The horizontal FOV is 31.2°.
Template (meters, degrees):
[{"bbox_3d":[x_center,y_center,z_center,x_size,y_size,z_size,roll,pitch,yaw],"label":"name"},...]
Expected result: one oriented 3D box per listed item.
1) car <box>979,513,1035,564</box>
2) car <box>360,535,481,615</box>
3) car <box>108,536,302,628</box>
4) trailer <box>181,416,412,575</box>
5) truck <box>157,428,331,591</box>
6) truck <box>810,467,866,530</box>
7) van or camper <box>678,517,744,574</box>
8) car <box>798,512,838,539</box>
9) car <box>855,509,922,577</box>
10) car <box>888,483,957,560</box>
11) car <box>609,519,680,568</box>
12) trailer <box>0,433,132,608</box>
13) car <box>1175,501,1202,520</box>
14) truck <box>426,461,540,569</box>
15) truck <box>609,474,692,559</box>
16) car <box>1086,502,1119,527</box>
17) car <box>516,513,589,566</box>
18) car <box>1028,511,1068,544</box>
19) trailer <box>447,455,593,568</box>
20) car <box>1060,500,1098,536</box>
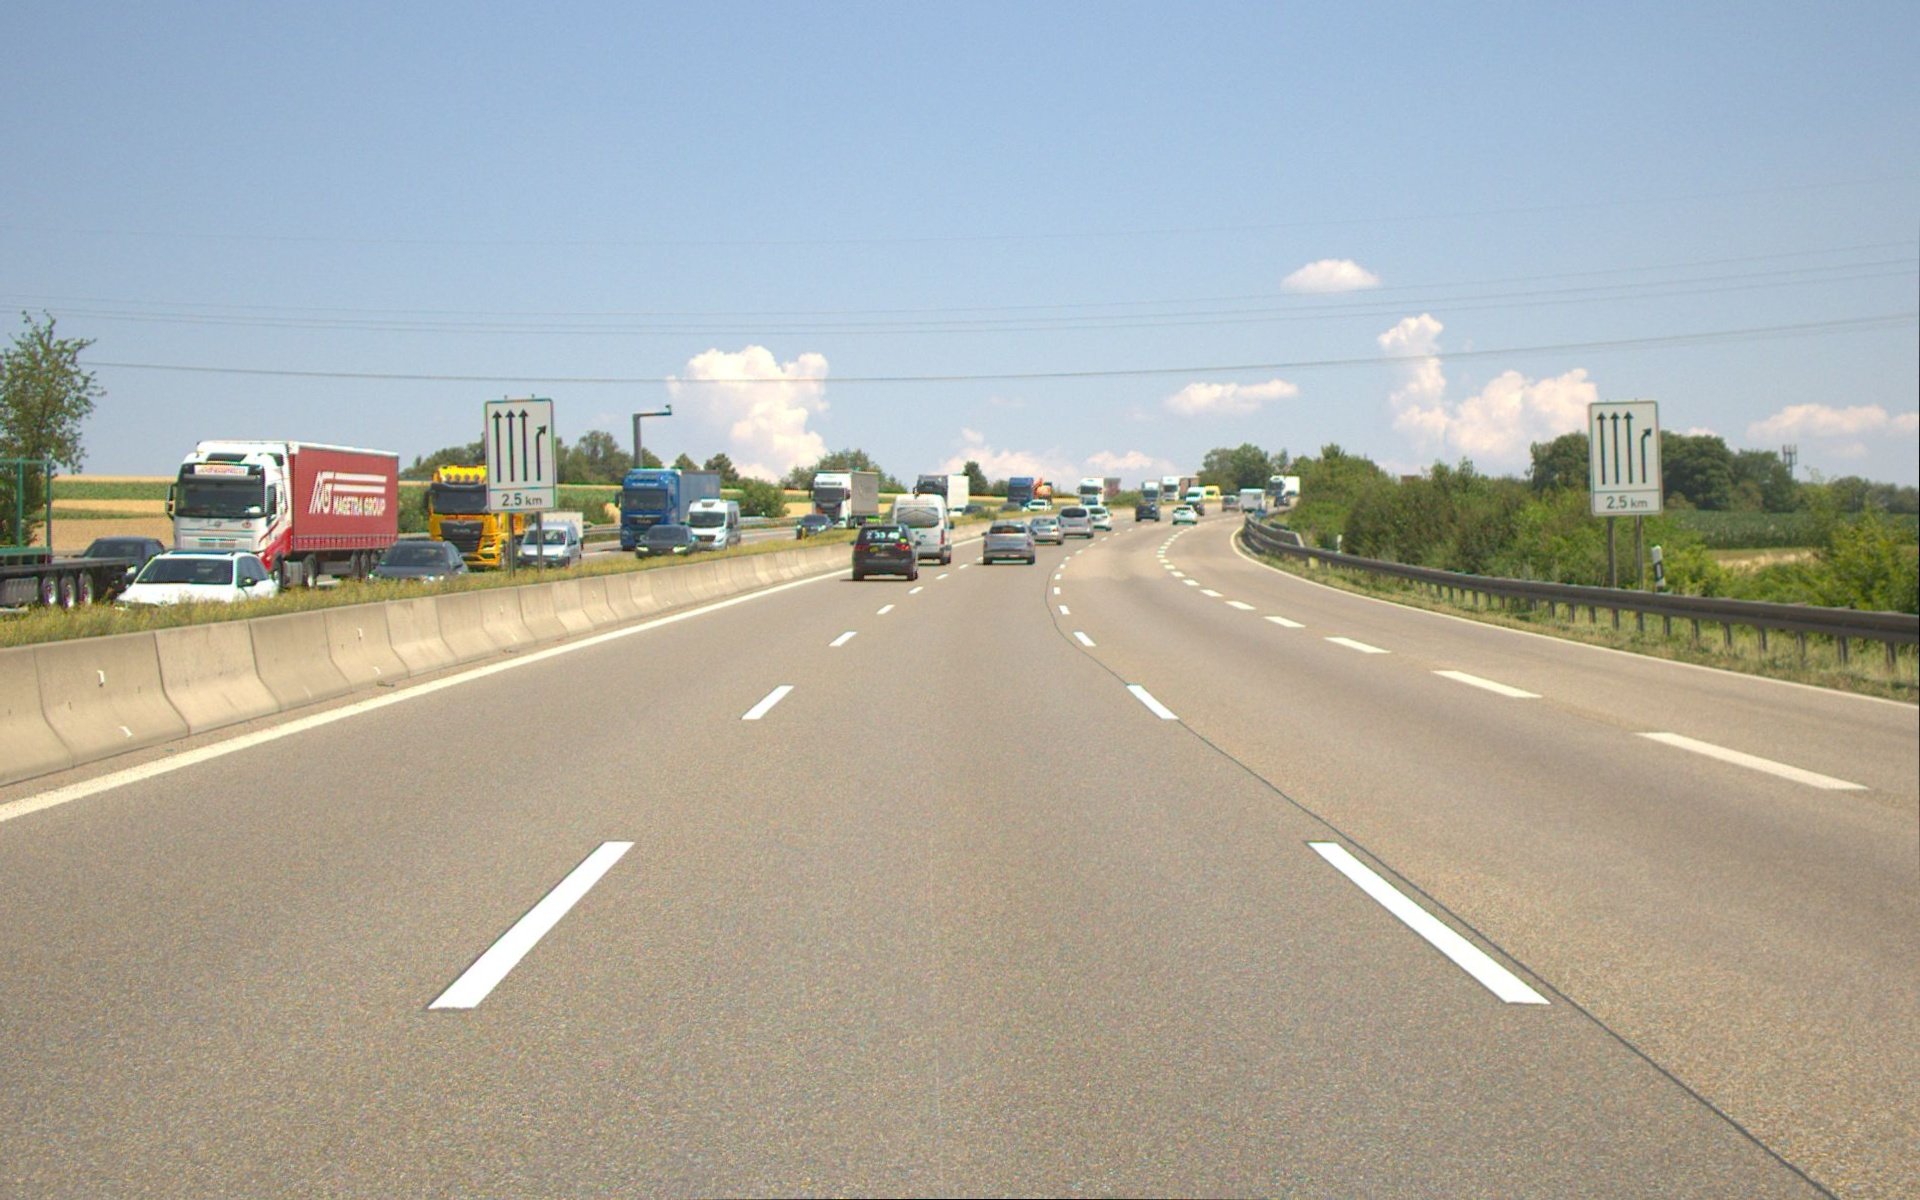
[{"bbox_3d":[1.725,-2.256,126.609,1.993,1.744,4.000,1,-1,0],"label":"car"},{"bbox_3d":[-11.407,-0.556,72.928,1.837,1.578,4.555,1,1,0],"label":"car"},{"bbox_3d":[-11.385,-0.237,52.154,1.837,1.280,4.874,1,-1,0],"label":"car"},{"bbox_3d":[-18.300,-2.869,96.006,3.086,4.086,14.381,1,1,2],"label":"trailer"},{"bbox_3d":[-18.572,-2.354,89.527,3.035,4.067,6.315,1,1,2],"label":"truck"},{"bbox_3d":[-8.552,-7.129,241.981,3.133,4.313,6.146,0,1,6],"label":"truck"},{"bbox_3d":[-11.517,-2.548,159.505,2.311,2.578,7.143,1,1,2],"label":"van or camper"},{"bbox_3d":[-8.263,-4.358,200.540,1.913,1.536,5.743,1,2,2],"label":"car"},{"bbox_3d":[-2.027,-1.654,98.644,1.847,1.854,4.206,0,3,0],"label":"car"},{"bbox_3d":[-1.359,-2.856,125.466,2.180,2.616,4.671,1,-1,3],"label":"car"},{"bbox_3d":[-11.274,-2.054,123.284,2.049,1.690,5.256,1,1,0],"label":"car"},{"bbox_3d":[-18.899,-1.529,65.902,2.858,3.195,12.784,1,1,1],"label":"trailer"},{"bbox_3d":[17.358,-6.806,260.746,1.902,1.437,3.999,0,2,6],"label":"car"},{"bbox_3d":[-17.367,-3.134,125.585,2.751,3.824,7.098,1,2,3],"label":"truck"},{"bbox_3d":[-15.190,-4.112,169.056,3.076,4.076,6.935,1,1,3],"label":"truck"},{"bbox_3d":[9.364,-5.624,226.358,1.994,1.546,4.000,1,2,4],"label":"car"},{"bbox_3d":[-13.910,-2.084,117.666,1.913,1.766,4.763,1,1,0],"label":"car"},{"bbox_3d":[4.540,-3.724,176.734,1.993,1.579,4.000,-1,0,2],"label":"car"},{"bbox_3d":[-16.883,-3.456,133.014,2.953,4.086,14.380,1,2,3],"label":"trailer"},{"bbox_3d":[6.768,-4.643,196.006,1.993,1.897,4.000,0,-1,0],"label":"car"}]
